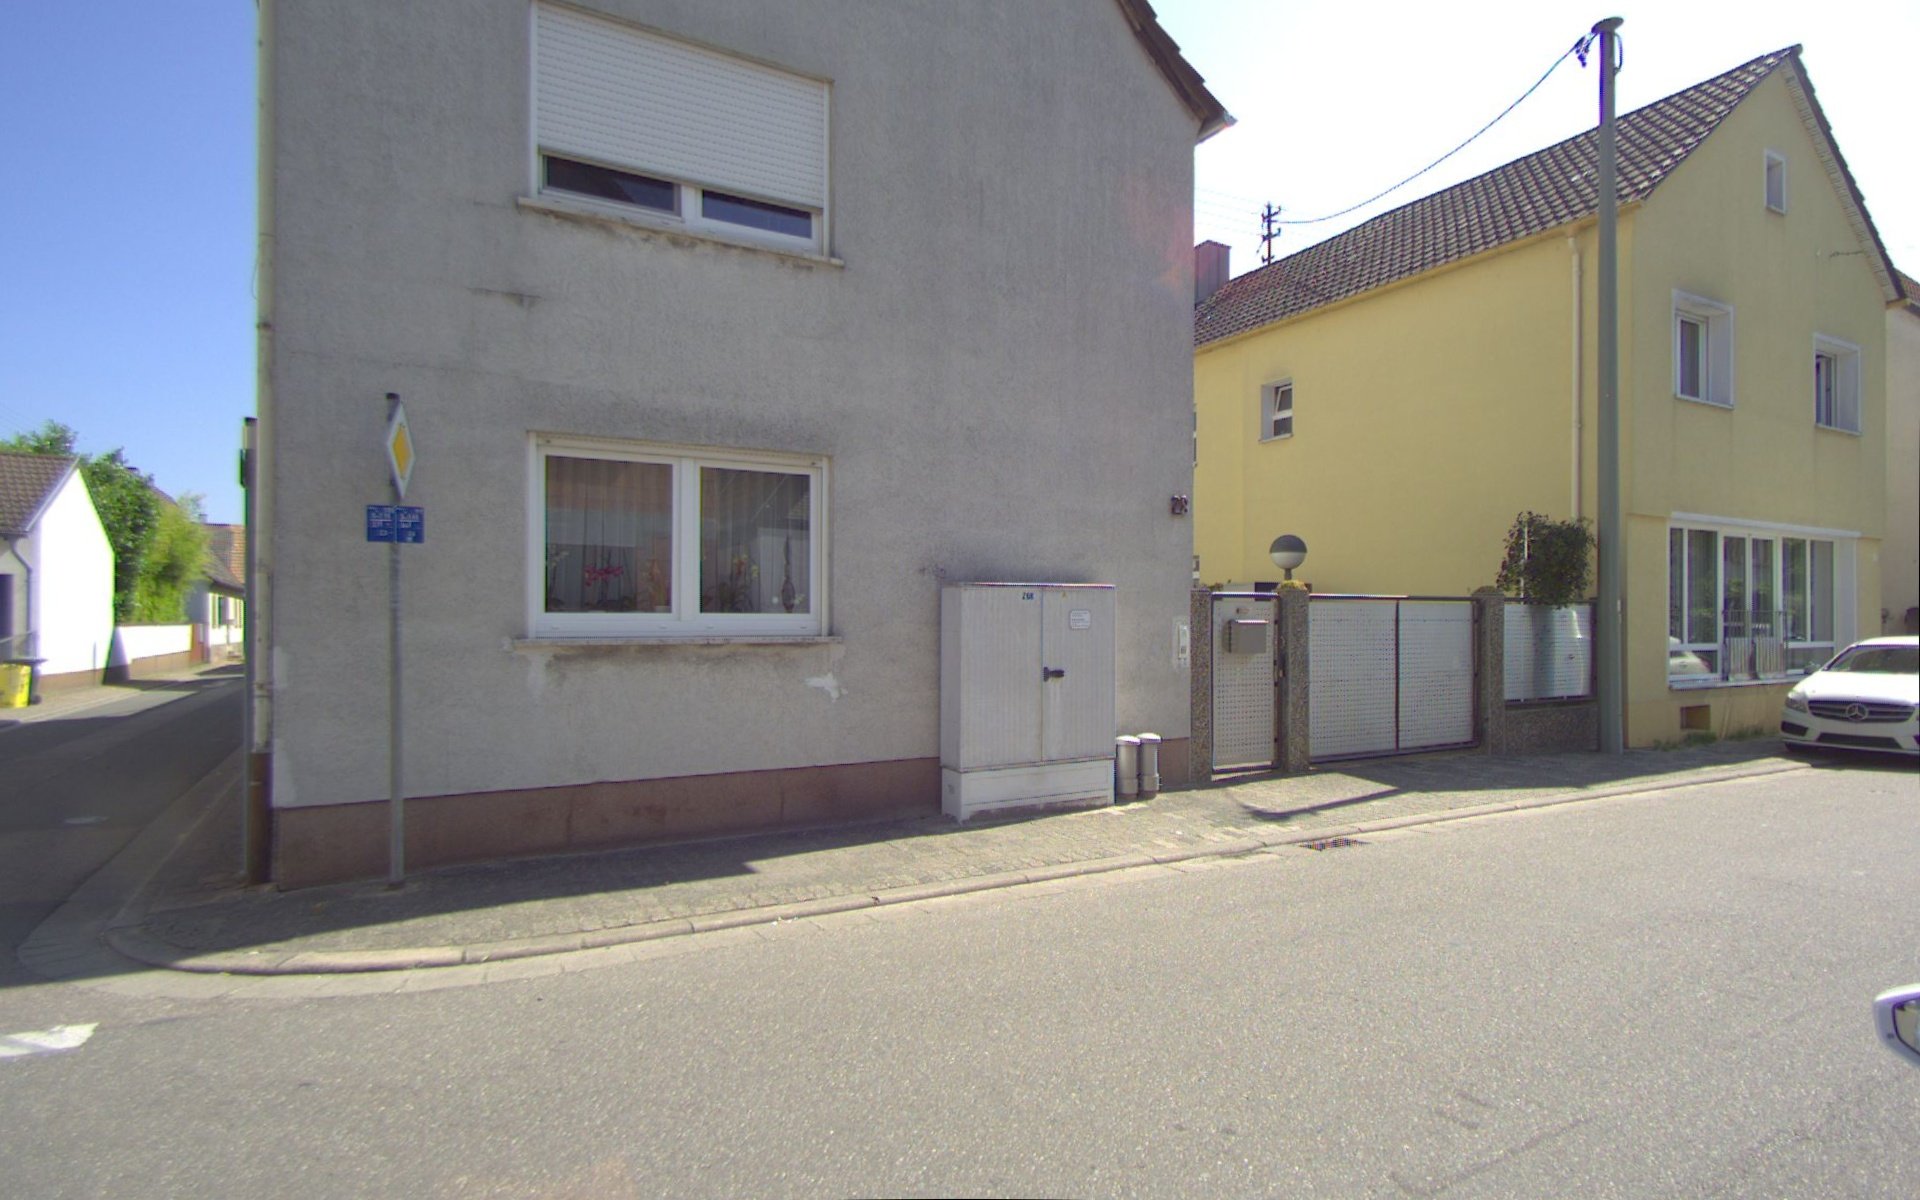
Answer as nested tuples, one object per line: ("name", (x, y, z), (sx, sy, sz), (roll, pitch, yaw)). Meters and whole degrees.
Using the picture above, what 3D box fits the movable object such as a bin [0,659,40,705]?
("movable object such as a bin", (-18.209, 1.570, 19.329), (0.578, 0.855, 0.636), (3, -3, -31))

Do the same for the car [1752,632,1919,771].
("car", (11.806, 1.147, 12.477), (4.224, 1.483, 1.824), (1, -2, -33))
